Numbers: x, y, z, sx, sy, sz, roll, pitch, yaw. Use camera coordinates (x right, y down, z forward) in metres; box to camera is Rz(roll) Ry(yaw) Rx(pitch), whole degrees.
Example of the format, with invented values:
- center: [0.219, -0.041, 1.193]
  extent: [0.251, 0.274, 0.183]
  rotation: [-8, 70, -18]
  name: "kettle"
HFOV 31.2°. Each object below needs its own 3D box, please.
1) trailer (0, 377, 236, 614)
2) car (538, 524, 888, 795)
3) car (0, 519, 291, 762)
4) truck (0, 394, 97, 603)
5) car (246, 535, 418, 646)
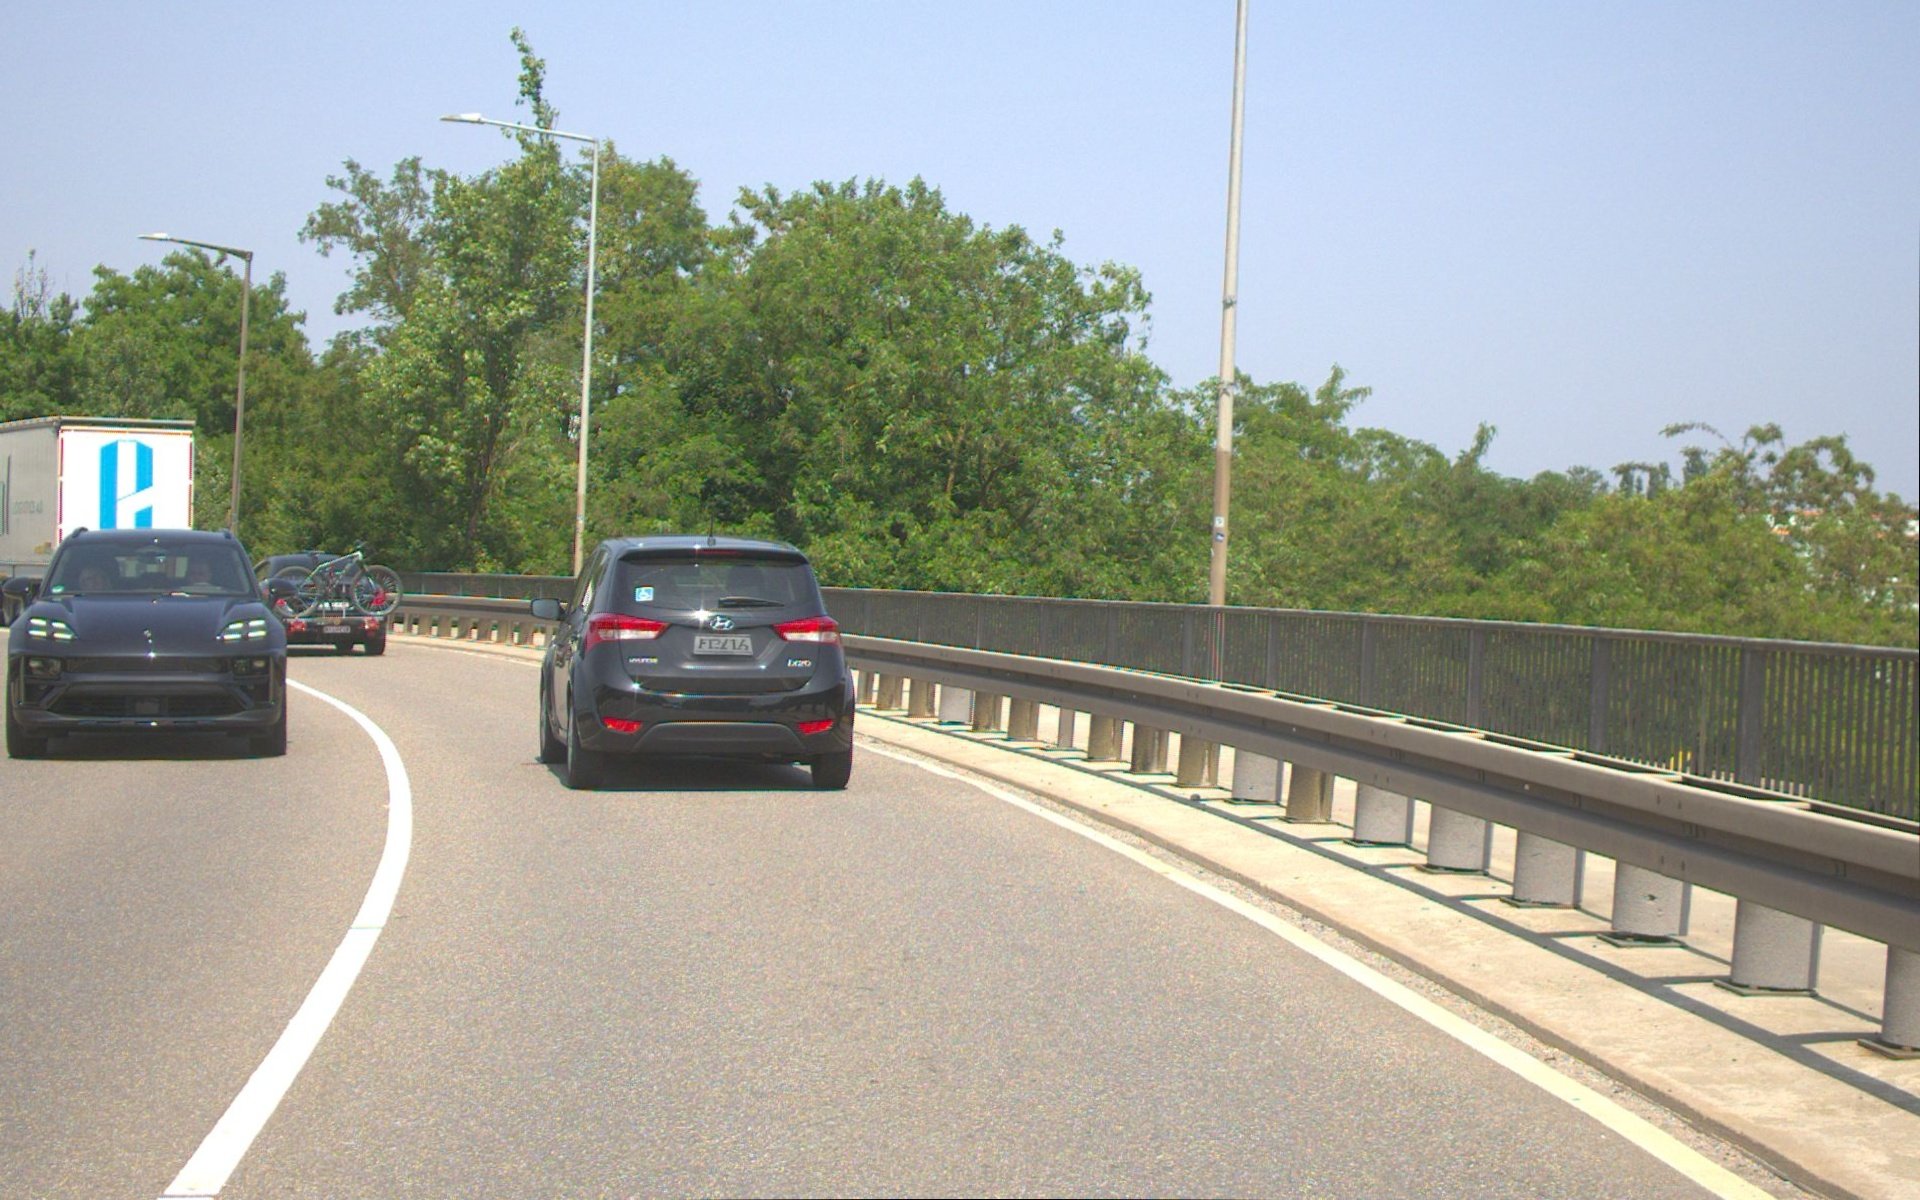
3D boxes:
- center: [-18.021, -2.121, 69.299]
  extent: [3.569, 4.369, 11.443]
  rotation: [0, 2, -28]
  name: "trailer"
- center: [-1.704, 0.320, 22.494]
  extent: [1.921, 1.568, 3.893]
  rotation: [1, 2, -9]
  name: "car"
- center: [-5.966, 0.228, 25.475]
  extent: [1.892, 1.590, 4.488]
  rotation: [1, 2, -10]
  name: "car"
- center: [-21.692, -2.265, 75.963]
  extent: [3.572, 4.425, 6.516]
  rotation: [0, 2, -28]
  name: "truck"
- center: [-8.849, -0.157, 48.197]
  extent: [2.011, 1.424, 3.778]
  rotation: [0, 2, -16]
  name: "car"
